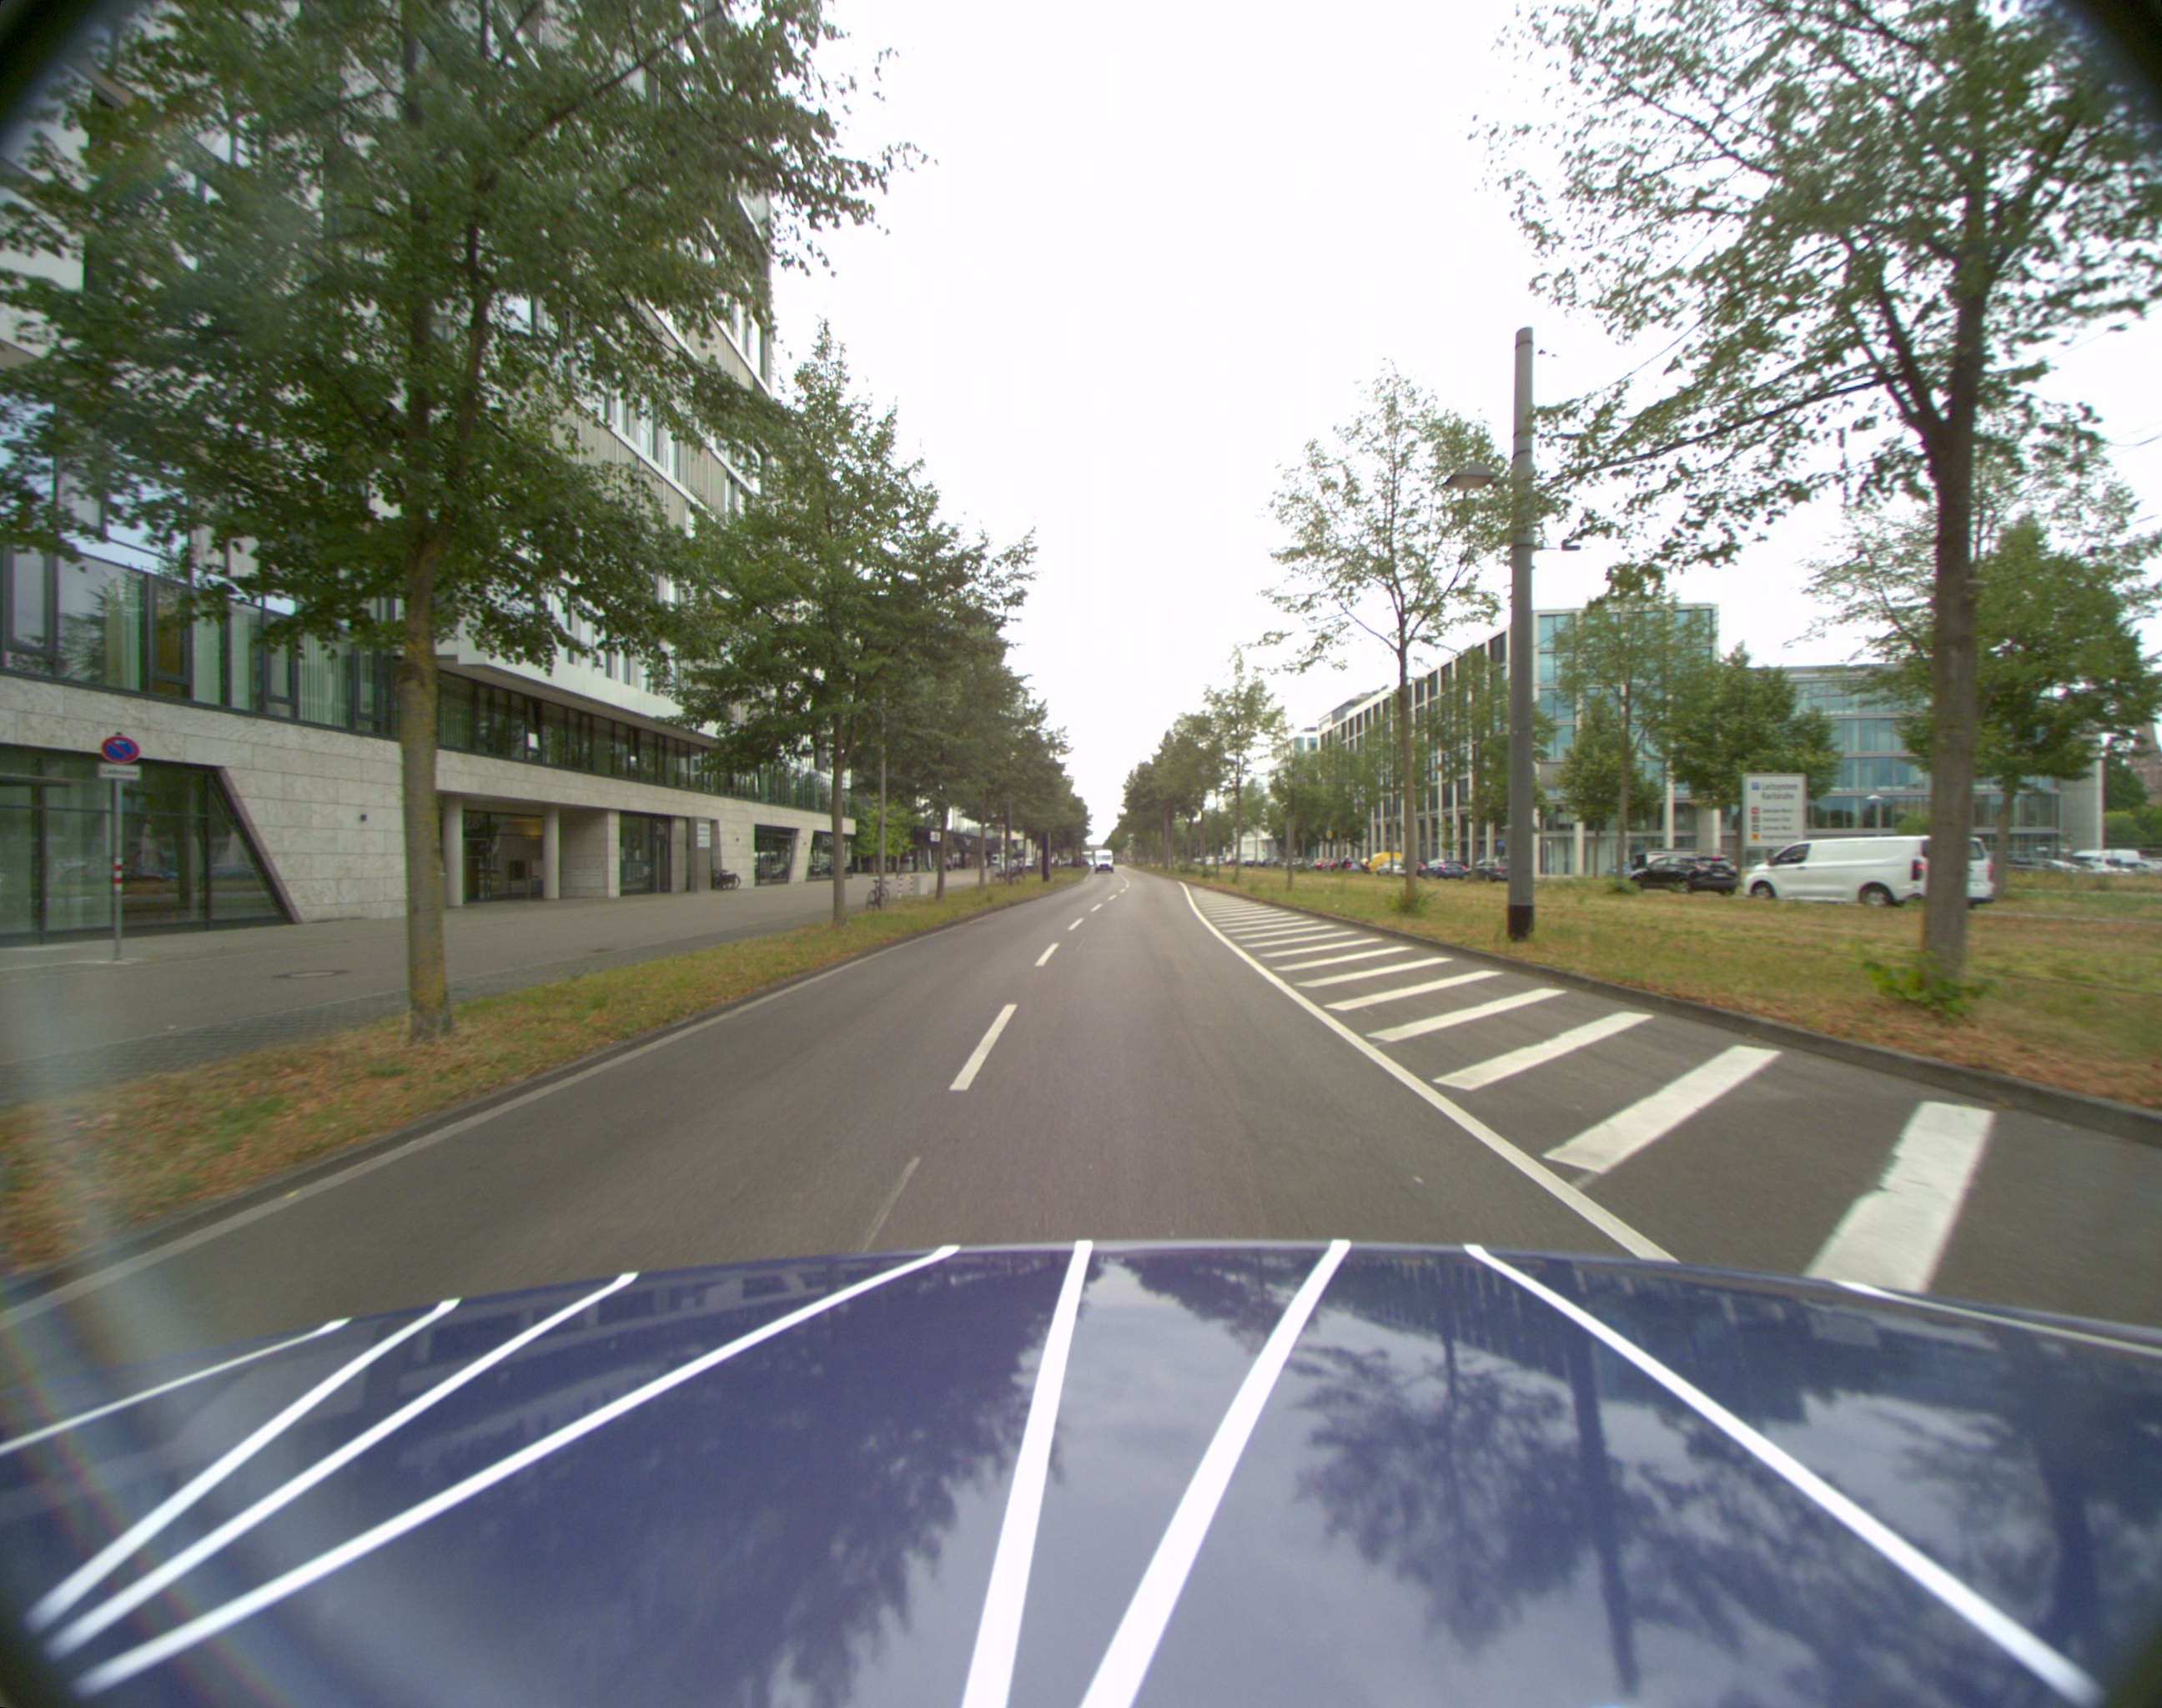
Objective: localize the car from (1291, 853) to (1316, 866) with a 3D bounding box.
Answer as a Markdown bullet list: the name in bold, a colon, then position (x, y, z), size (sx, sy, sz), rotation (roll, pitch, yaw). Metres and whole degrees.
- **car**: position (24.746, 0.617, 84.583), size (1.752, 1.448, 3.865), rotation (0, 0, 3)

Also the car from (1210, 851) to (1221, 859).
- **car**: position (26.204, 0.166, 148.216), size (1.752, 1.448, 3.865), rotation (0, 0, 3)

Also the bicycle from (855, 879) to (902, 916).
- **bicycle**: position (-5.750, 1.213, 21.674), size (0.634, 0.871, 2.116), rotation (-3, 1, 3)

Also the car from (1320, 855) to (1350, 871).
- **car**: position (23.717, 0.837, 71.145), size (1.752, 1.448, 3.866), rotation (0, 0, 4)

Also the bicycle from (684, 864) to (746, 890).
- **bicycle**: position (-17.629, 1.090, 36.684), size (2.426, 1.170, 1.202), rotation (-1, 0, -6)

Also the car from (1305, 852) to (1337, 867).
- **car**: position (24.006, 0.559, 76.078), size (1.998, 1.410, 4.000), rotation (-1, 0, 0)

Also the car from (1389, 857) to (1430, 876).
- **car**: position (25.728, 0.959, 59.659), size (1.752, 1.448, 3.866), rotation (0, 0, 3)

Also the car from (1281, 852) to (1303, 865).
- **car**: position (25.160, 0.547, 90.688), size (1.752, 1.448, 3.865), rotation (0, 0, 3)

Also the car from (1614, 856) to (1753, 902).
- **car**: position (23.990, 0.936, 30.523), size (1.832, 1.646, 4.691), rotation (-1, 0, -1)

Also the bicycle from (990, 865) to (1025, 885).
- **bicycle**: position (-3.849, 1.118, 39.995), size (1.790, 1.013, 0.422), rotation (-1, 1, -13)

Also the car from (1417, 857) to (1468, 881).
- **car**: position (24.686, 1.000, 52.024), size (1.753, 1.488, 3.865), rotation (-1, 0, 1)

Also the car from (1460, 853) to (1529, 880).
- **car**: position (24.594, 0.725, 45.415), size (1.753, 1.520, 4.279), rotation (-1, 0, -1)

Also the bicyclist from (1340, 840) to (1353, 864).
- **bicyclist**: position (23.387, -0.168, 66.917), size (0.742, 2.002, 0.995), rotation (-3, 1, -1)

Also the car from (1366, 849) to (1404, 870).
- **car**: position (26.745, 0.484, 67.033), size (1.956, 1.761, 4.446), rotation (0, 0, 5)

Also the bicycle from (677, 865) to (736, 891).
- **bicycle**: position (-17.451, 1.095, 35.455), size (2.238, 1.170, 0.975), rotation (-1, 0, -6)

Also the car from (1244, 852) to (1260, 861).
- **car**: position (26.283, 0.360, 117.003), size (1.752, 1.448, 3.865), rotation (0, 0, 3)

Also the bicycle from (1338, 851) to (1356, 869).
- **bicycle**: position (23.426, 0.520, 66.996), size (0.711, 1.479, 2.358), rotation (-3, 0, 0)

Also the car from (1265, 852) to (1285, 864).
- **car**: position (25.233, 0.494, 98.903), size (1.752, 1.448, 3.865), rotation (0, 0, 3)

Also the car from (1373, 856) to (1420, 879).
- **car**: position (22.194, 0.932, 53.574), size (1.753, 1.488, 3.865), rotation (-1, 0, 1)

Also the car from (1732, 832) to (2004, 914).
- **car**: position (20.837, 0.453, 20.551), size (1.999, 1.933, 5.095), rotation (-1, 0, -2)

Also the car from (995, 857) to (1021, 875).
- **car**: position (-6.530, 1.045, 68.259), size (1.954, 1.521, 4.000), rotation (-1, 0, 0)

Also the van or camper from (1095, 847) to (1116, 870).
- **van or camper**: position (2.689, 0.485, 84.840), size (2.183, 2.494, 6.339), rotation (-2, 0, 1)
